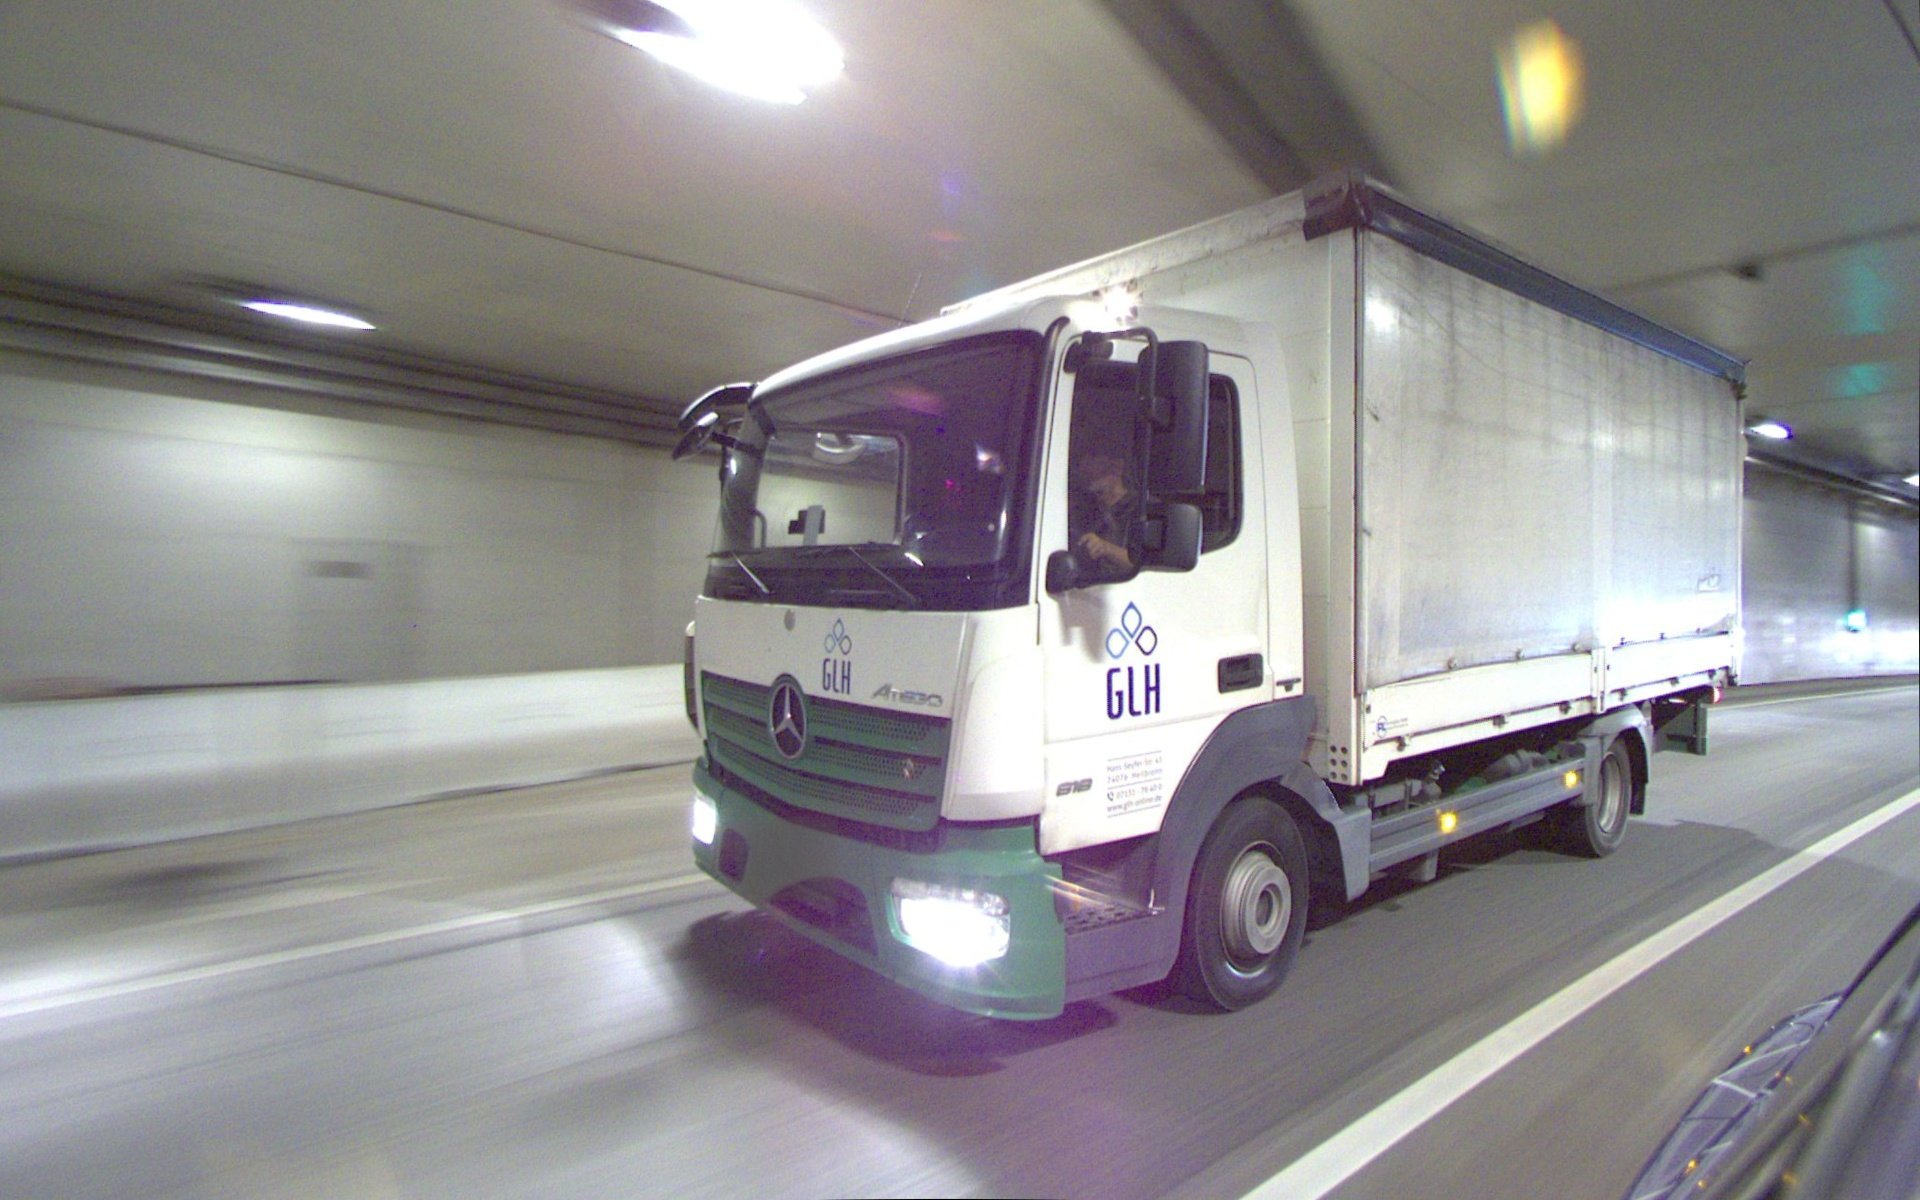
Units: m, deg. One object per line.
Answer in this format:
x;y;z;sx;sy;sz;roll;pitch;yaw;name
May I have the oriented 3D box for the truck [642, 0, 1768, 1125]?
2.131;-0.196;5.886;7.114;3.222;2.559;2;-1;-39;truck
